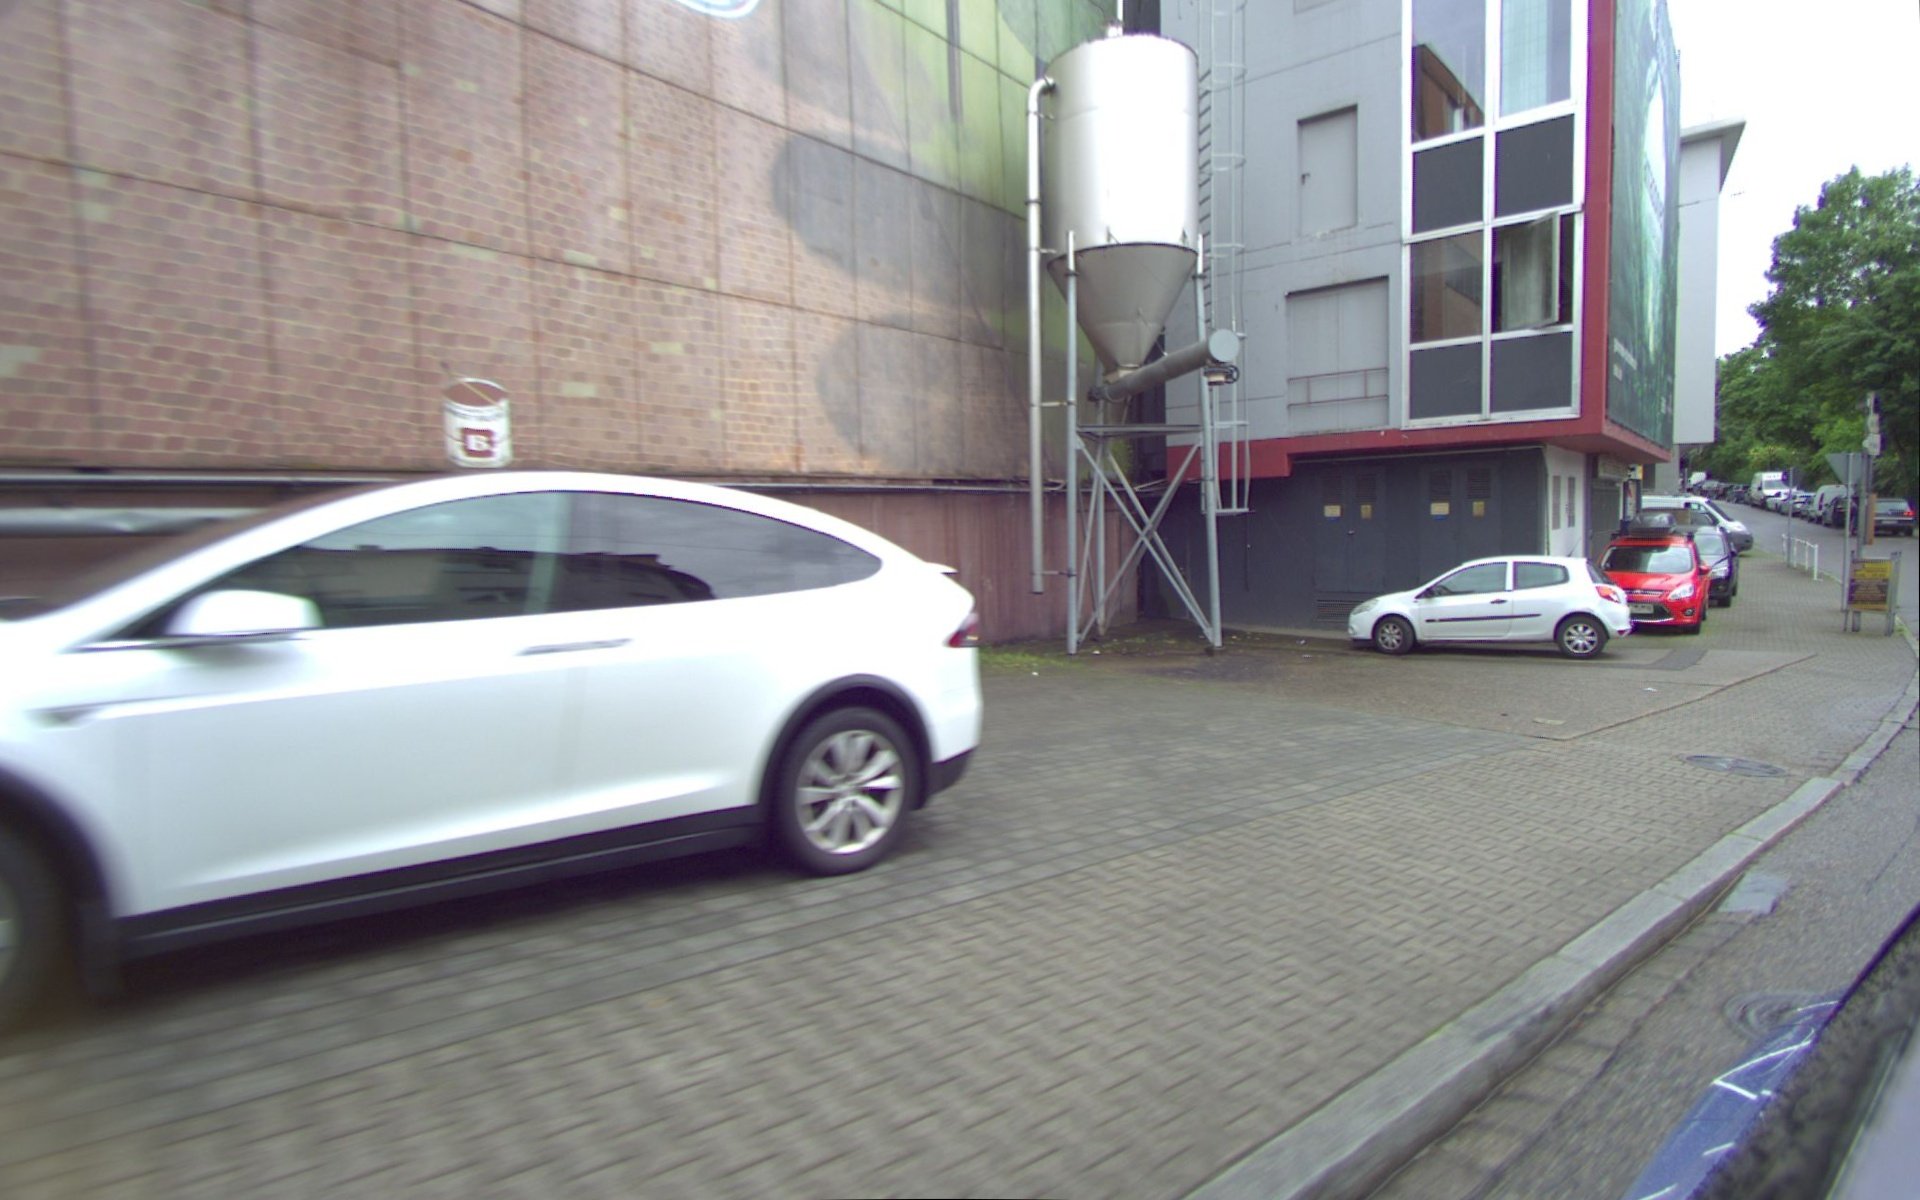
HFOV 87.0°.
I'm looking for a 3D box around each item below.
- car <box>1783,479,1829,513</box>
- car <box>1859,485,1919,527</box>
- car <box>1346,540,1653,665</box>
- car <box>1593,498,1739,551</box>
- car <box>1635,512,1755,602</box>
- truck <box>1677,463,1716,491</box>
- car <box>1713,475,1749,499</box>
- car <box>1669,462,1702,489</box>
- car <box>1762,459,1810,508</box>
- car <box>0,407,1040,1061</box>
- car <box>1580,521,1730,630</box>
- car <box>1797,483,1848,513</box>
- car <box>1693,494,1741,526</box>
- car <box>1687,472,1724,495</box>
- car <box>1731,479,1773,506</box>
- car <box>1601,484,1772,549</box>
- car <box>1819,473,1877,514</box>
[{"bbox_3d":[55.616,-6.866,66.598,1.897,2.058,3.954,2,7,35],"label":"car"},{"bbox_3d":[40.804,-4.109,44.150,1.897,1.670,3.954,2,7,35],"label":"car"},{"bbox_3d":[8.373,-0.079,15.855,3.971,1.550,1.852,5,7,37],"label":"car"},{"bbox_3d":[24.982,-2.723,35.890,3.989,1.711,1.856,5,9,44],"label":"car"},{"bbox_3d":[16.862,-1.064,23.145,1.924,1.730,3.947,4,8,39],"label":"car"},{"bbox_3d":[73.311,-12.262,100.817,2.025,2.658,3.980,0,6,19],"label":"truck"},{"bbox_3d":[67.611,-9.897,88.802,1.892,1.963,3.966,1,6,28],"label":"car"},{"bbox_3d":[75.746,-12.999,105.745,1.770,2.658,3.978,0,6,21],"label":"car"},{"bbox_3d":[59.513,-8.414,72.968,2.209,3.320,5.021,2,7,35],"label":"car"},{"bbox_3d":[-2.038,0.285,4.068,4.830,1.637,1.856,-1,3,-41],"label":"car"},{"bbox_3d":[13.174,-0.571,19.069,1.924,1.731,4.431,2,6,40],"label":"car"},{"bbox_3d":[51.924,-6.142,60.997,1.897,1.670,3.954,2,7,35],"label":"car"},{"bbox_3d":[40.026,-4.800,53.588,1.897,1.519,3.954,2,7,35],"label":"car"},{"bbox_3d":[69.565,-10.873,94.496,1.888,1.963,3.974,0,6,23],"label":"car"},{"bbox_3d":[63.710,-8.654,81.478,1.892,2.058,3.966,1,6,28],"label":"car"},{"bbox_3d":[26.825,-3.115,37.511,4.878,2.236,1.856,5,9,44],"label":"car"},{"bbox_3d":[48.485,-5.840,55.327,1.897,2.099,3.954,2,7,35],"label":"car"}]
